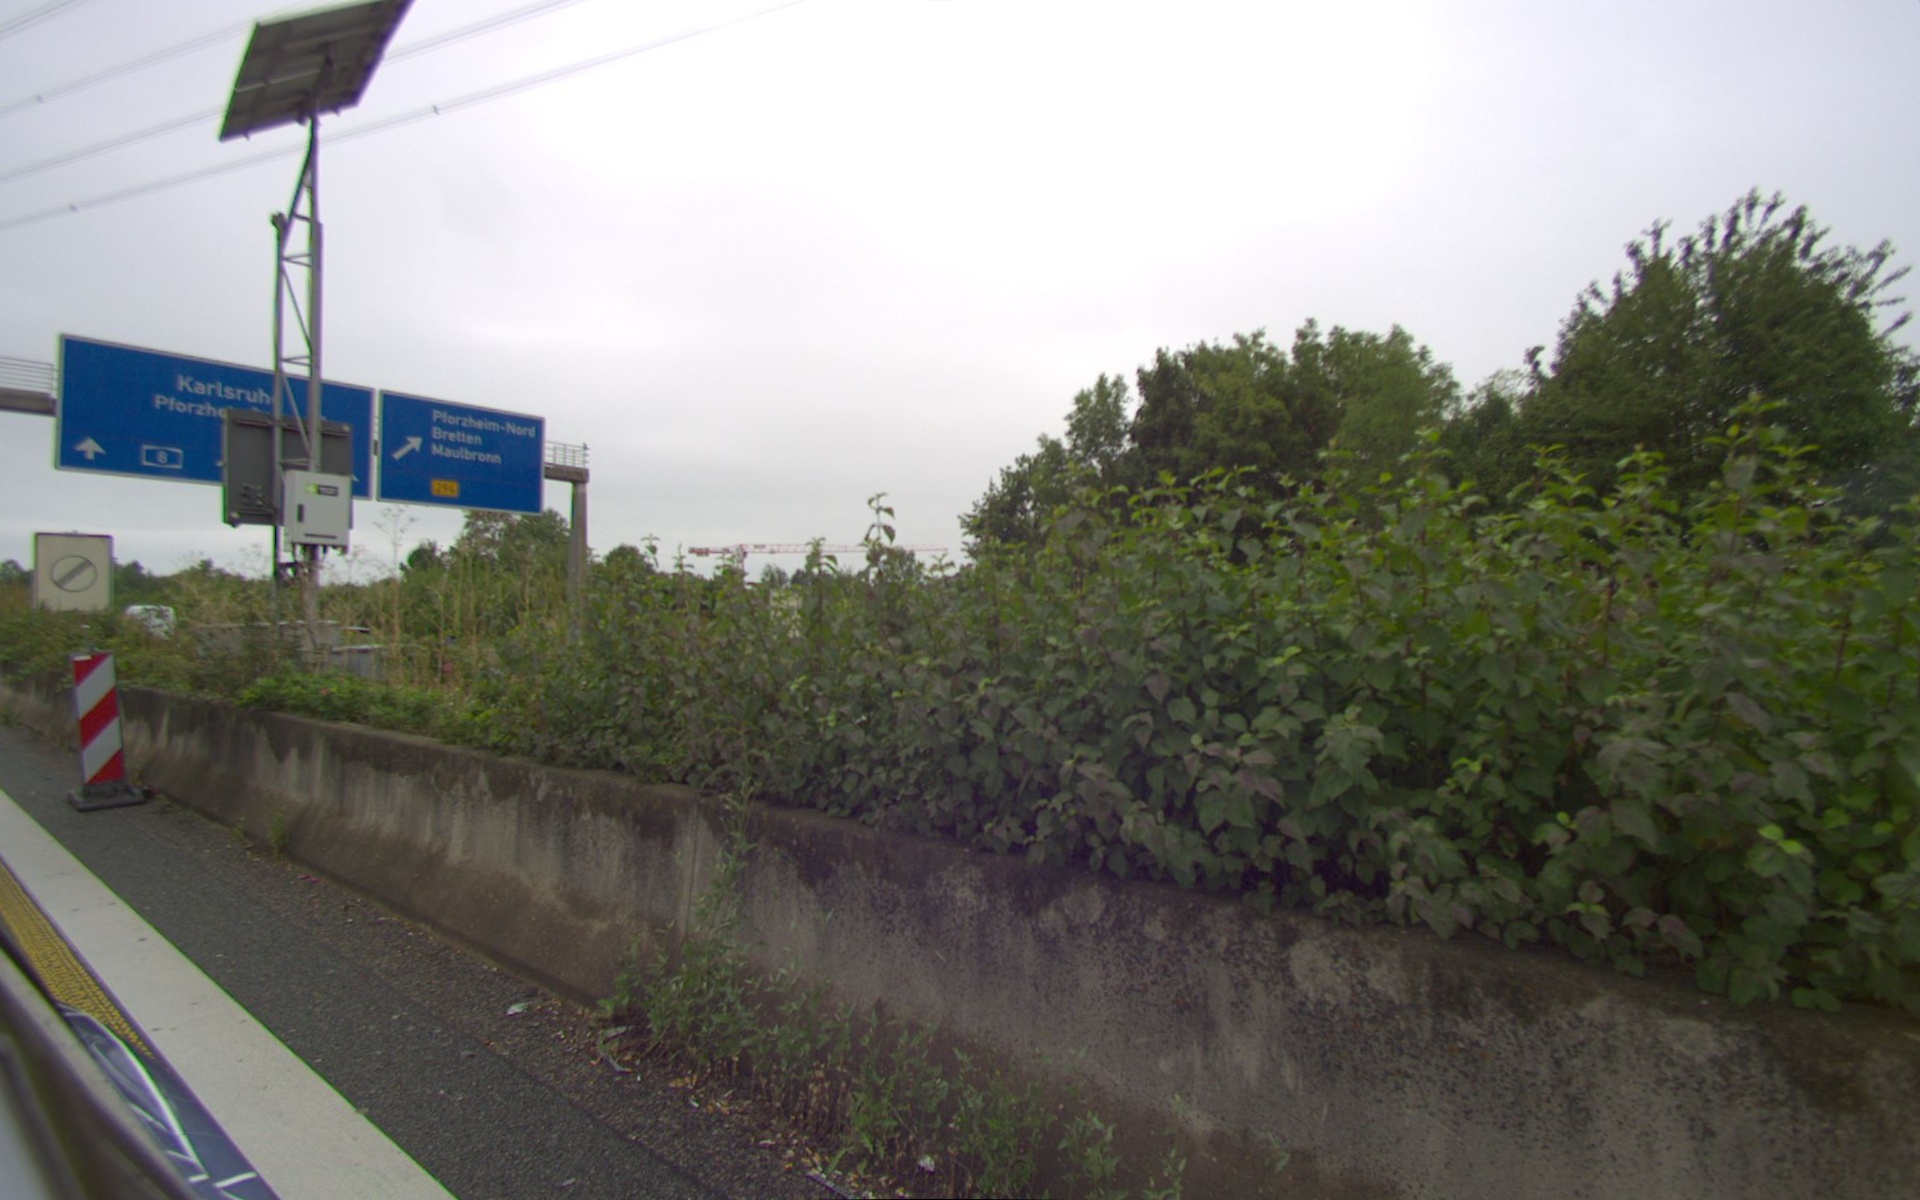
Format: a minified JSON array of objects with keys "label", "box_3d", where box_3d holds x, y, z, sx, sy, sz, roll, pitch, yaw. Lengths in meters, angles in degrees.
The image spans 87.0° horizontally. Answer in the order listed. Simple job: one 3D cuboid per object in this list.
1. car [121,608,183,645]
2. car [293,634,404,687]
[{"label":"car","box_3d":[-51.232,1.668,64.144,5.201,2.282,2.157,-1,-1,41]},{"label":"car","box_3d":[-19.980,1.913,33.011,3.998,1.539,1.973,-1,-1,41]}]
